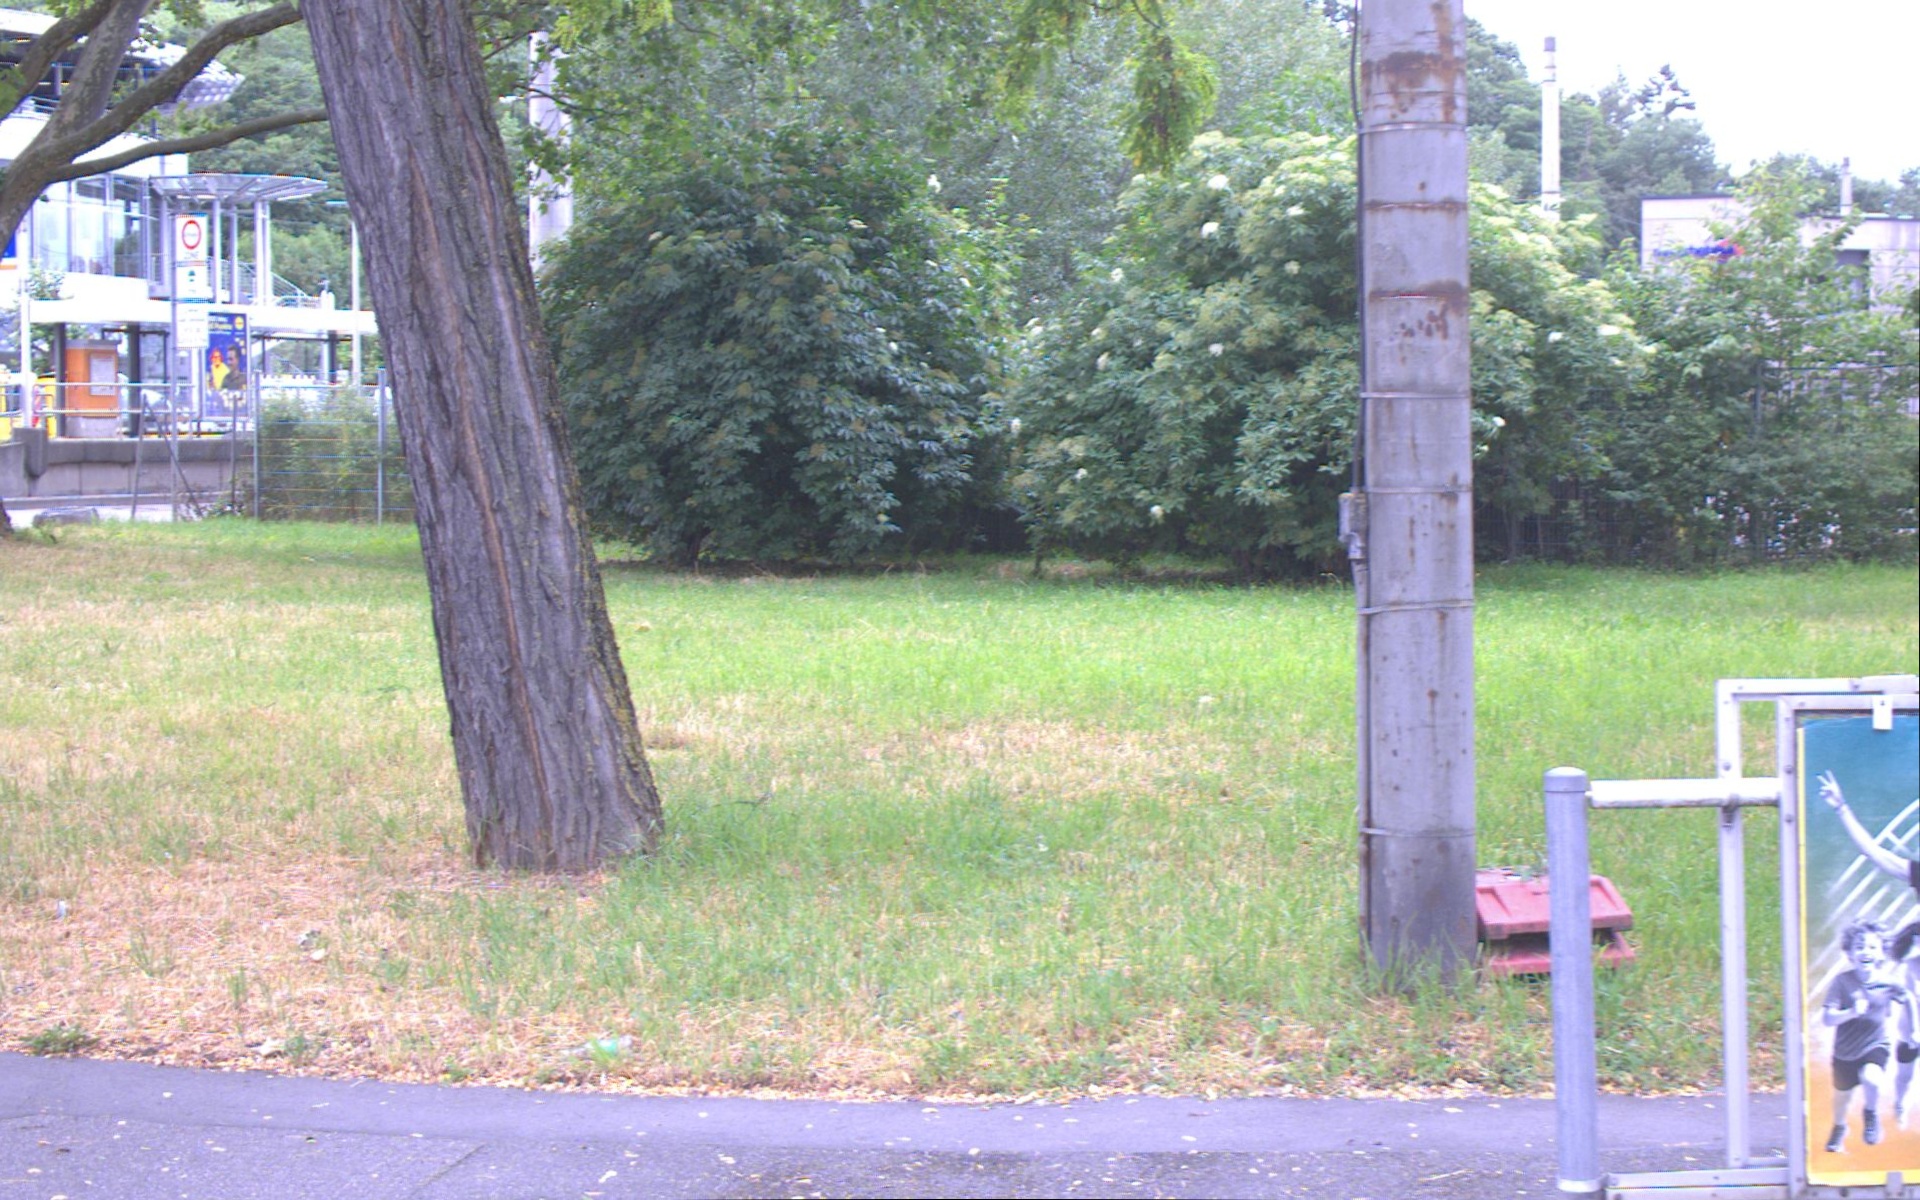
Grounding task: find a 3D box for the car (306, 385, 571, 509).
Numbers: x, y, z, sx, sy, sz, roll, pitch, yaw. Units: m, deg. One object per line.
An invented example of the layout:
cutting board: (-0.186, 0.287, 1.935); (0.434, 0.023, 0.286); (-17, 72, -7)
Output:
car: (-8.903, -2.664, 59.217); (1.969, 2.006, 5.295); (2, 4, 24)
